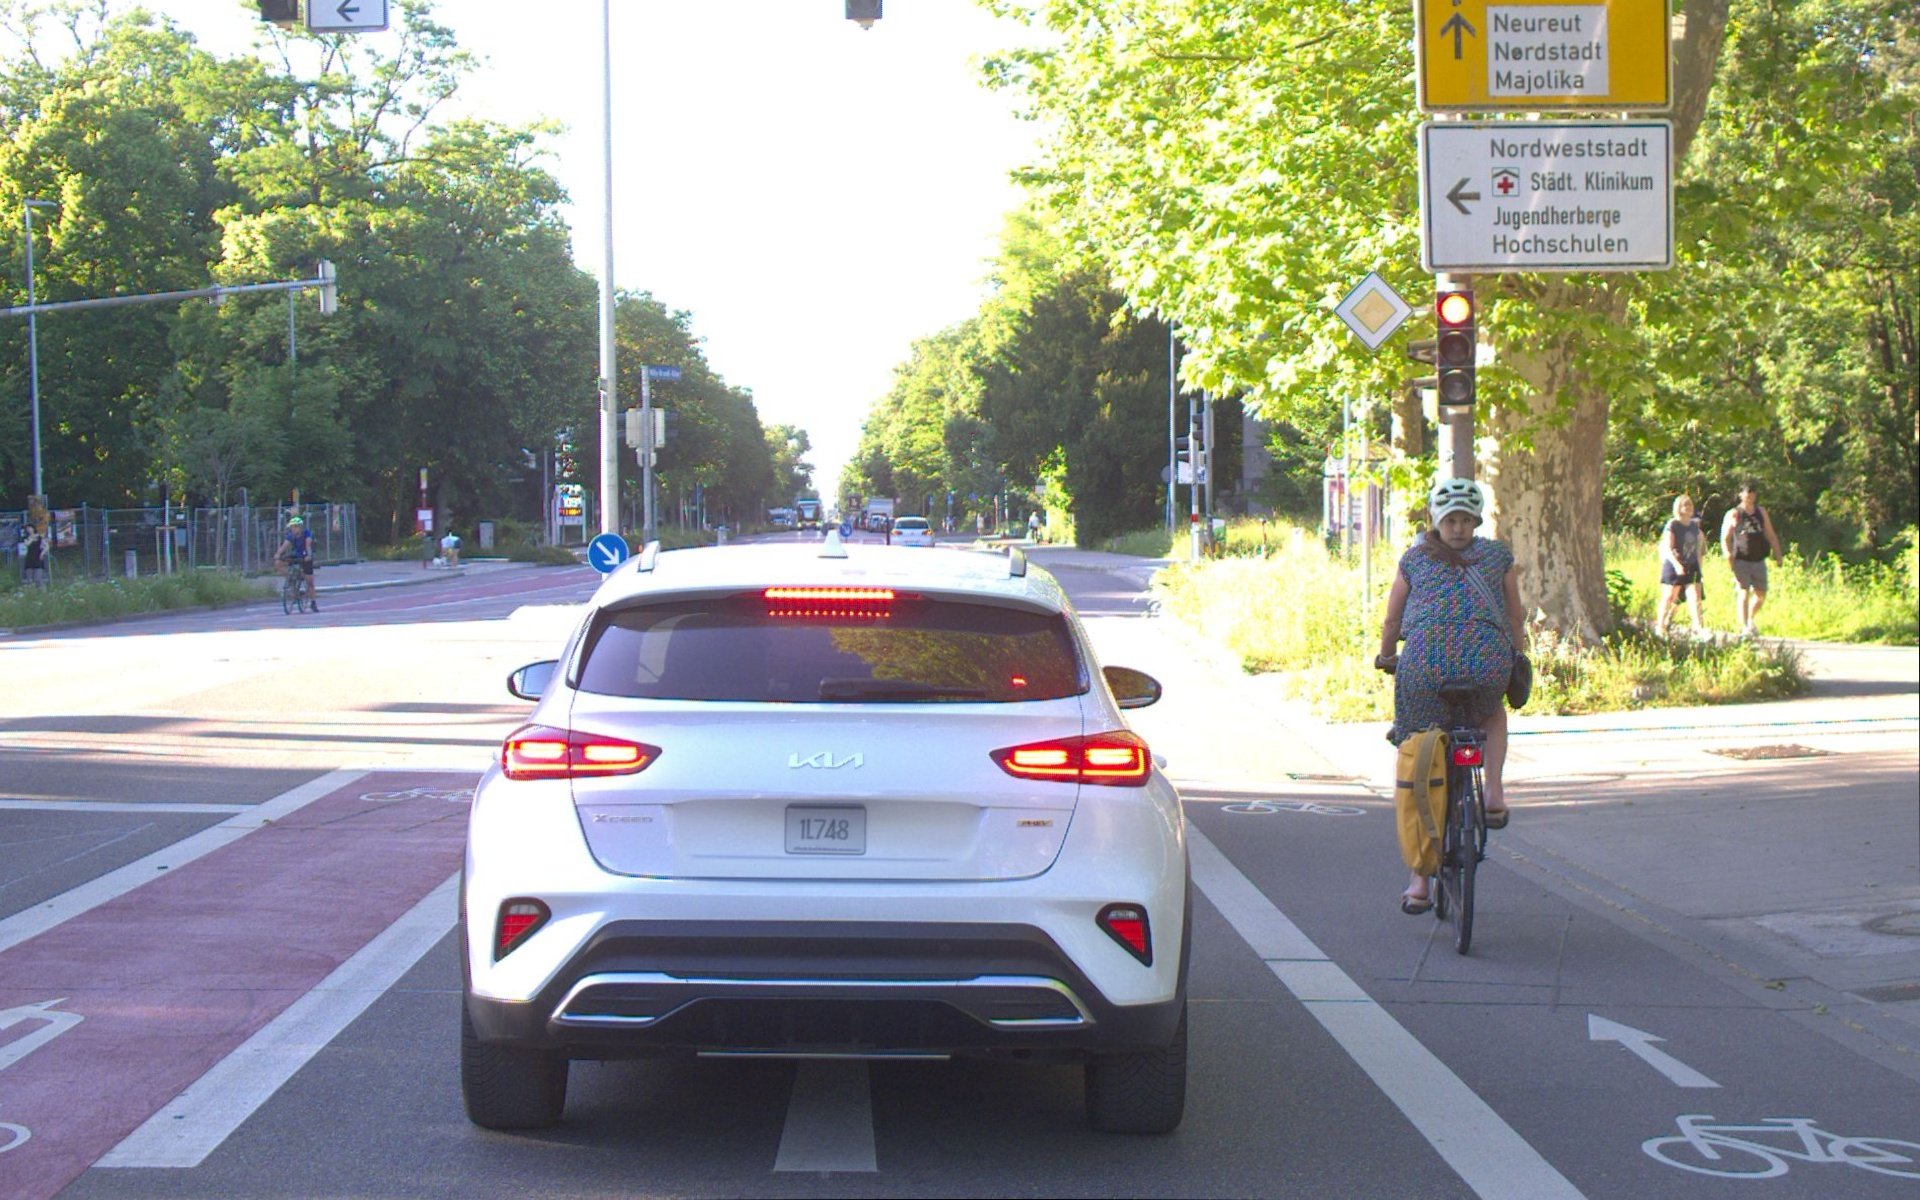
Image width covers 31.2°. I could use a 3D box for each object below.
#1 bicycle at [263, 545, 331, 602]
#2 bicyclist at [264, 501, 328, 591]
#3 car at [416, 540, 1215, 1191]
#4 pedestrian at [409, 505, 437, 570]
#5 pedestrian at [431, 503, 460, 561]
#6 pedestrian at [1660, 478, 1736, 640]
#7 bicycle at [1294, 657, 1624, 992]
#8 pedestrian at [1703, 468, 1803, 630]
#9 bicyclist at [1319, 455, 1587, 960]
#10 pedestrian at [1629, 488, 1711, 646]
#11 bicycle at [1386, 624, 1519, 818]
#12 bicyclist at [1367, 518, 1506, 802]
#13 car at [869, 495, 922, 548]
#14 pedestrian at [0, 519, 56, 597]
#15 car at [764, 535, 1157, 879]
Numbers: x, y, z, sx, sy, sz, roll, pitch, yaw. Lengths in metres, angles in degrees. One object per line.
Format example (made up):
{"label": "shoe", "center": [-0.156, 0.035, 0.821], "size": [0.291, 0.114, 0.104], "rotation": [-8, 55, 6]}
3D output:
{"label": "bicycle", "center": [-12.088, -0.496, 62.769], "size": [0.663, 0.985, 2.504], "rotation": [-1, 2, 2]}
{"label": "bicyclist", "center": [-12.100, -0.990, 62.697], "size": [0.875, 1.603, 1.188], "rotation": [-1, 1, 2]}
{"label": "car", "center": [-0.391, 0.570, 9.814], "size": [1.821, 1.475, 3.937], "rotation": [0, 1, -2]}
{"label": "pedestrian", "center": [-16.681, -1.950, 106.890], "size": [0.641, 2.007, 0.753], "rotation": [1, 1, 10]}
{"label": "pedestrian", "center": [-16.055, -2.121, 107.208], "size": [0.785, 1.779, 0.751], "rotation": [0, 1, 0]}
{"label": "pedestrian", "center": [8.162, -0.457, 38.048], "size": [0.615, 1.765, 0.647], "rotation": [-1, 1, -7]}
{"label": "bicycle", "center": [1.813, 0.782, 12.912], "size": [0.758, 1.009, 2.570], "rotation": [1, 1, -2]}
{"label": "pedestrian", "center": [8.815, -0.577, 38.255], "size": [0.817, 1.765, 0.832], "rotation": [-1, 1, -7]}
{"label": "bicyclist", "center": [1.822, 0.372, 12.863], "size": [0.753, 1.789, 1.165], "rotation": [1, 1, -2]}
{"label": "pedestrian", "center": [7.756, -0.361, 37.567], "size": [0.689, 1.693, 0.644], "rotation": [-1, 1, -7]}
{"label": "bicycle", "center": [2.657, 0.634, 18.654], "size": [0.401, 0.953, 1.551], "rotation": [-3, 1, -2]}
{"label": "bicyclist", "center": [2.572, 0.313, 18.608], "size": [0.554, 1.473, 0.717], "rotation": [-3, 1, -2]}
{"label": "car", "center": [-2.533, -3.089, 135.617], "size": [1.993, 2.007, 4.000], "rotation": [-1, 1, 0]}
{"label": "pedestrian", "center": [-19.467, -0.878, 71.566], "size": [1.087, 1.598, 1.001], "rotation": [-1, 1, -7]}
{"label": "car", "center": [-0.061, 0.445, 17.102], "size": [1.728, 1.478, 3.517], "rotation": [-1, 1, -2]}
